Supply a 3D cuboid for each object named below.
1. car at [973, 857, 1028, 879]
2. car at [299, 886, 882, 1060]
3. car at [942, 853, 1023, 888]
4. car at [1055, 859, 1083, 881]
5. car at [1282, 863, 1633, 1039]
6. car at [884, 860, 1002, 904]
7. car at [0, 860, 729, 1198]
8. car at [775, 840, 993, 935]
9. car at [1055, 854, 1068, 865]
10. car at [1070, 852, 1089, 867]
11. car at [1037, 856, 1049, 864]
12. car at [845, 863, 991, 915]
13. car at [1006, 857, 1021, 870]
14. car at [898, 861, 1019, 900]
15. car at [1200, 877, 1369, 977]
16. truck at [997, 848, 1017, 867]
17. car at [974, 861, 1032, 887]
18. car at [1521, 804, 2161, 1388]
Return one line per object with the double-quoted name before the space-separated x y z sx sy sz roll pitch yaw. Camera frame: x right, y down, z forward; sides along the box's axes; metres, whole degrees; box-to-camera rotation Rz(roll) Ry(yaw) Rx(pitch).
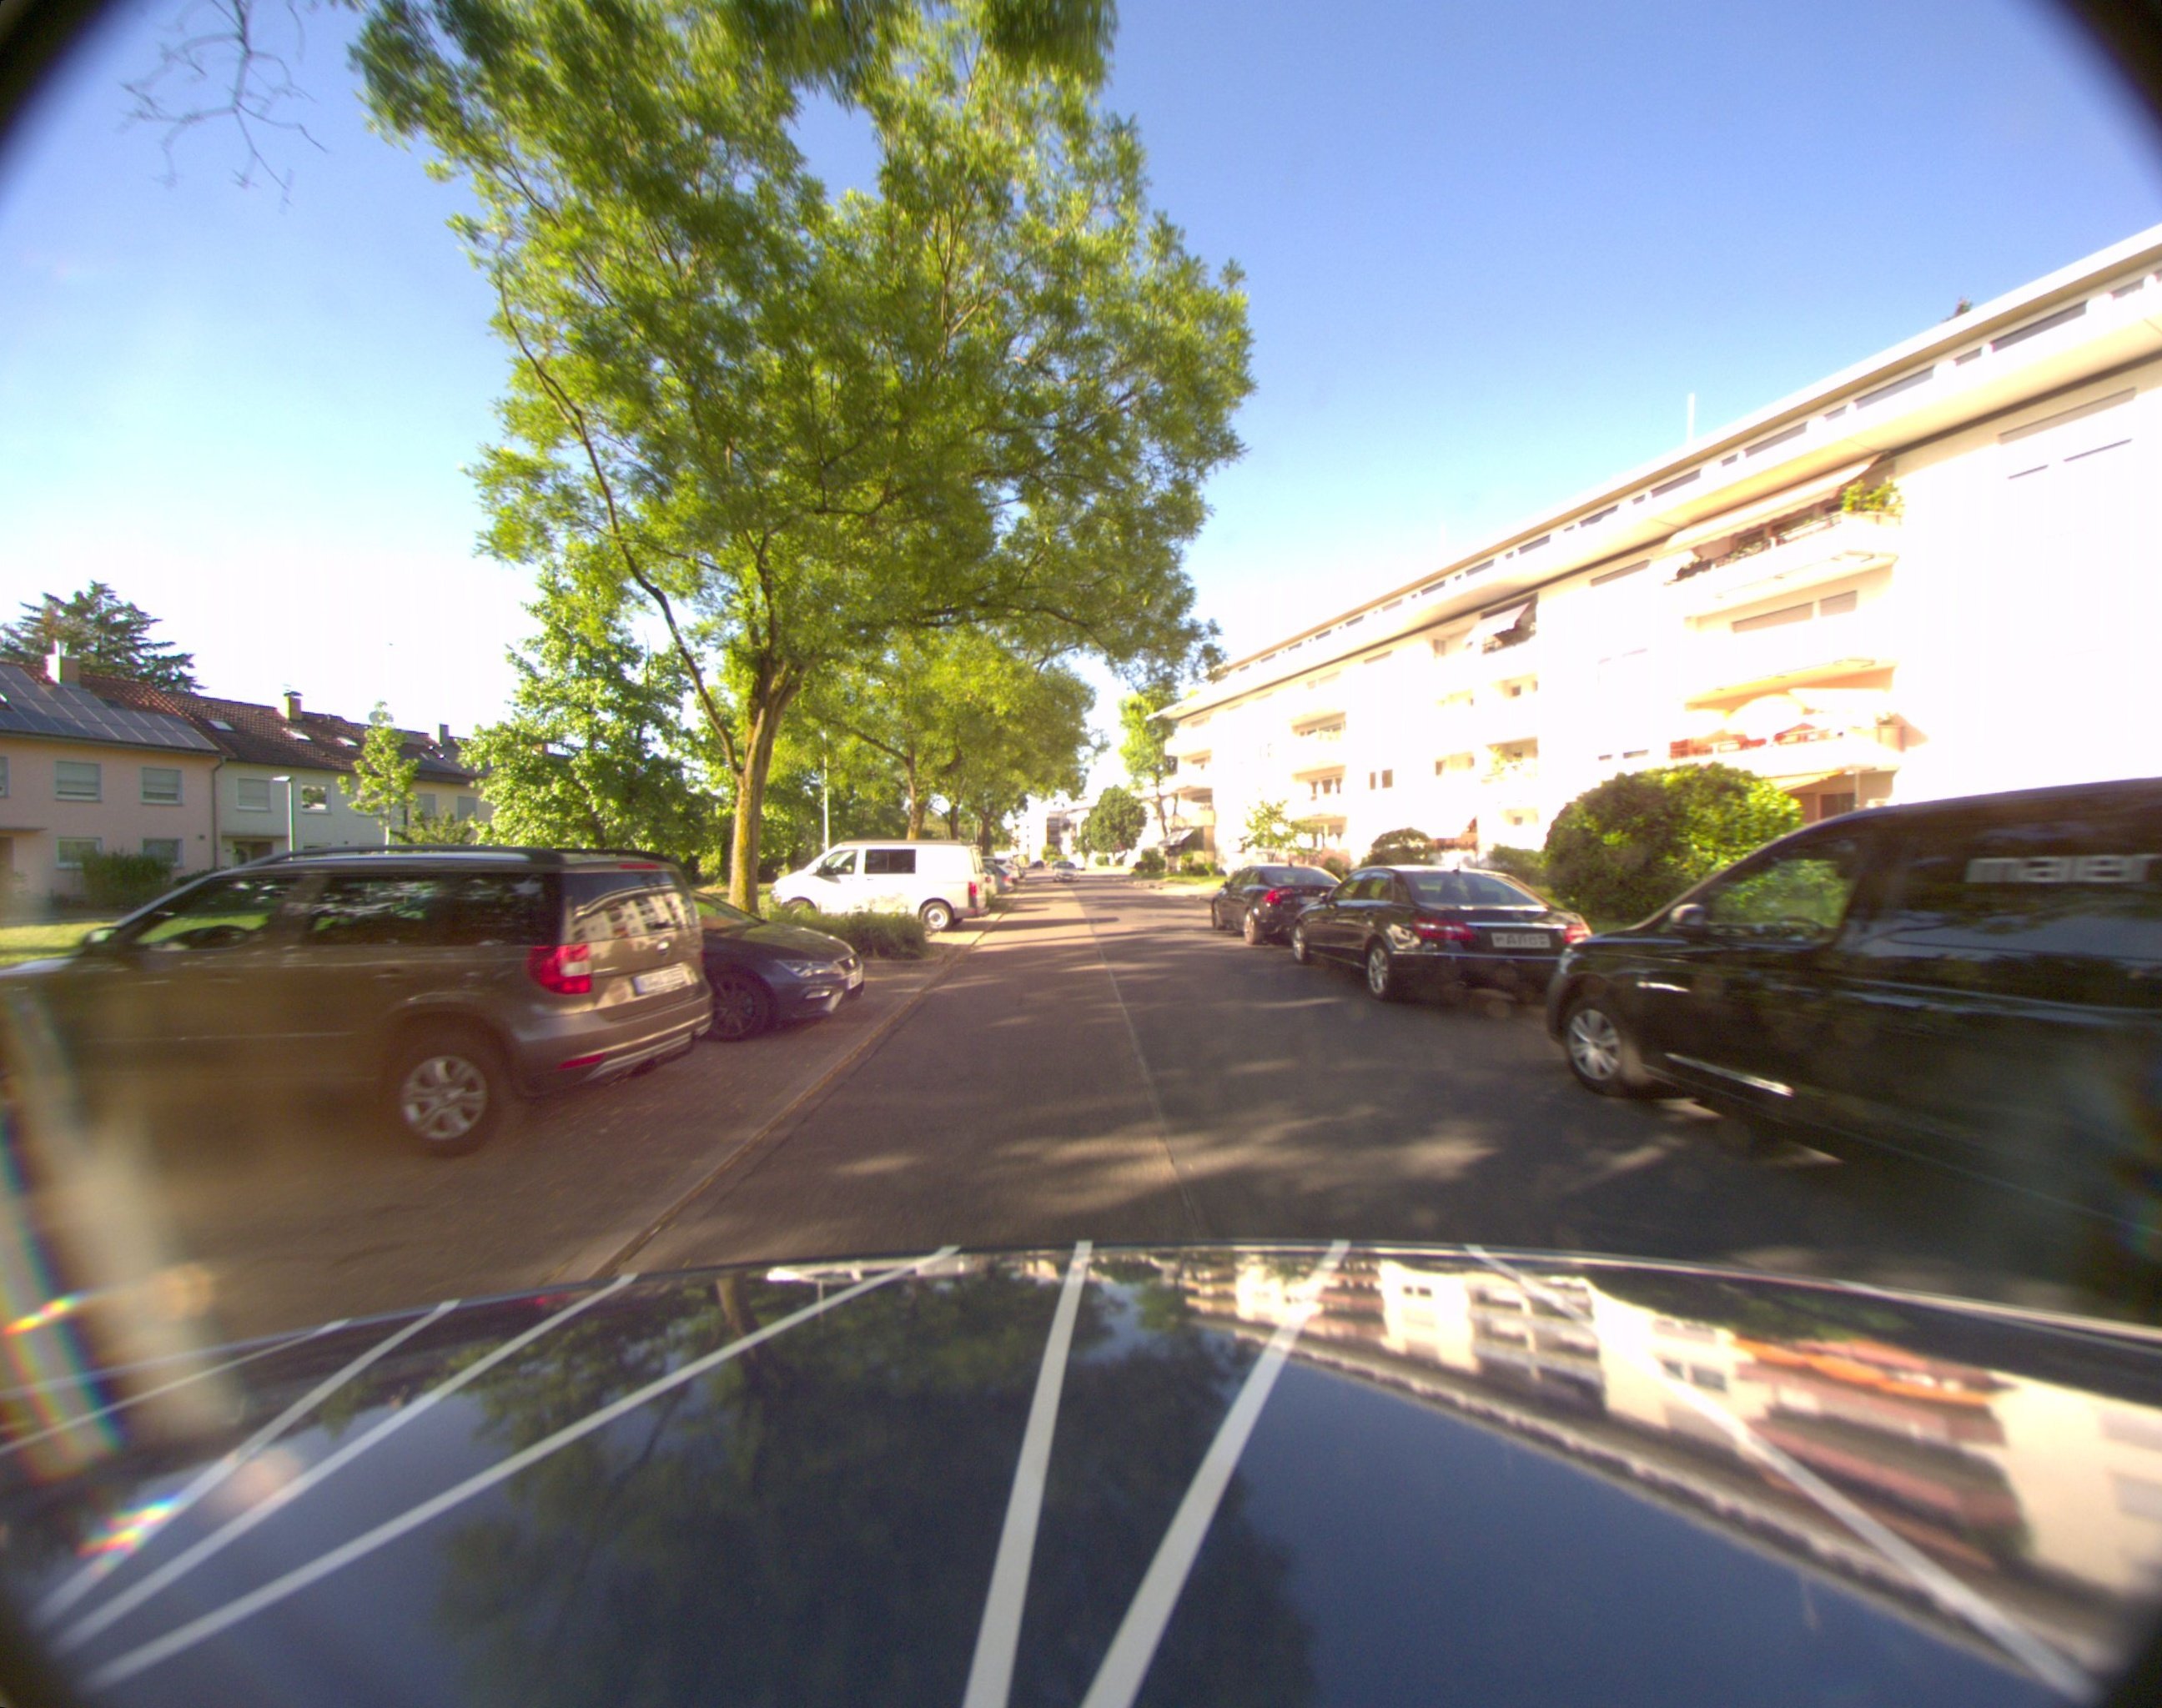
"car" -6.071 1.027 57.614 4.053 1.544 1.744 1 0 -5
"car" -4.392 1.054 7.353 4.463 1.406 1.775 0 0 -1
"car" -5.121 0.849 39.930 4.052 1.753 1.745 0 0 -3
"car" -0.865 1.067 52.131 1.597 1.417 4.169 2 0 -4
"car" 4.032 0.915 9.192 1.845 1.473 4.574 2 0 -1
"car" -4.881 0.992 27.246 3.917 1.427 1.636 1 0 0
"car" -4.725 0.901 4.808 4.158 1.685 1.775 0 0 2
"car" -4.397 0.725 17.490 4.462 2.005 2.021 1 0 0
"car" -3.076 0.919 119.623 1.694 1.661 4.049 -1 0 -6
"car" -0.253 0.761 100.906 2.008 1.837 4.614 -3 0 -5
"car" -7.452 1.161 148.190 1.795 1.535 4.048 -4 0 -11
"car" -4.769 1.014 22.565 3.916 1.427 1.636 0 0 3
"car" -8.356 1.146 94.004 1.774 1.606 4.049 1 0 -6
"car" -4.732 1.022 29.854 4.492 1.463 1.745 0 0 -3
"car" 3.721 1.279 14.858 1.845 1.473 4.799 1 0 -2
"truck" -11.111 0.508 113.782 2.764 2.785 8.262 1 0 -6
"car" -5.560 1.423 54.613 4.053 1.649 1.744 -2 0 -5
"car" 4.203 0.746 3.175 1.844 1.770 4.888 1 0 0
